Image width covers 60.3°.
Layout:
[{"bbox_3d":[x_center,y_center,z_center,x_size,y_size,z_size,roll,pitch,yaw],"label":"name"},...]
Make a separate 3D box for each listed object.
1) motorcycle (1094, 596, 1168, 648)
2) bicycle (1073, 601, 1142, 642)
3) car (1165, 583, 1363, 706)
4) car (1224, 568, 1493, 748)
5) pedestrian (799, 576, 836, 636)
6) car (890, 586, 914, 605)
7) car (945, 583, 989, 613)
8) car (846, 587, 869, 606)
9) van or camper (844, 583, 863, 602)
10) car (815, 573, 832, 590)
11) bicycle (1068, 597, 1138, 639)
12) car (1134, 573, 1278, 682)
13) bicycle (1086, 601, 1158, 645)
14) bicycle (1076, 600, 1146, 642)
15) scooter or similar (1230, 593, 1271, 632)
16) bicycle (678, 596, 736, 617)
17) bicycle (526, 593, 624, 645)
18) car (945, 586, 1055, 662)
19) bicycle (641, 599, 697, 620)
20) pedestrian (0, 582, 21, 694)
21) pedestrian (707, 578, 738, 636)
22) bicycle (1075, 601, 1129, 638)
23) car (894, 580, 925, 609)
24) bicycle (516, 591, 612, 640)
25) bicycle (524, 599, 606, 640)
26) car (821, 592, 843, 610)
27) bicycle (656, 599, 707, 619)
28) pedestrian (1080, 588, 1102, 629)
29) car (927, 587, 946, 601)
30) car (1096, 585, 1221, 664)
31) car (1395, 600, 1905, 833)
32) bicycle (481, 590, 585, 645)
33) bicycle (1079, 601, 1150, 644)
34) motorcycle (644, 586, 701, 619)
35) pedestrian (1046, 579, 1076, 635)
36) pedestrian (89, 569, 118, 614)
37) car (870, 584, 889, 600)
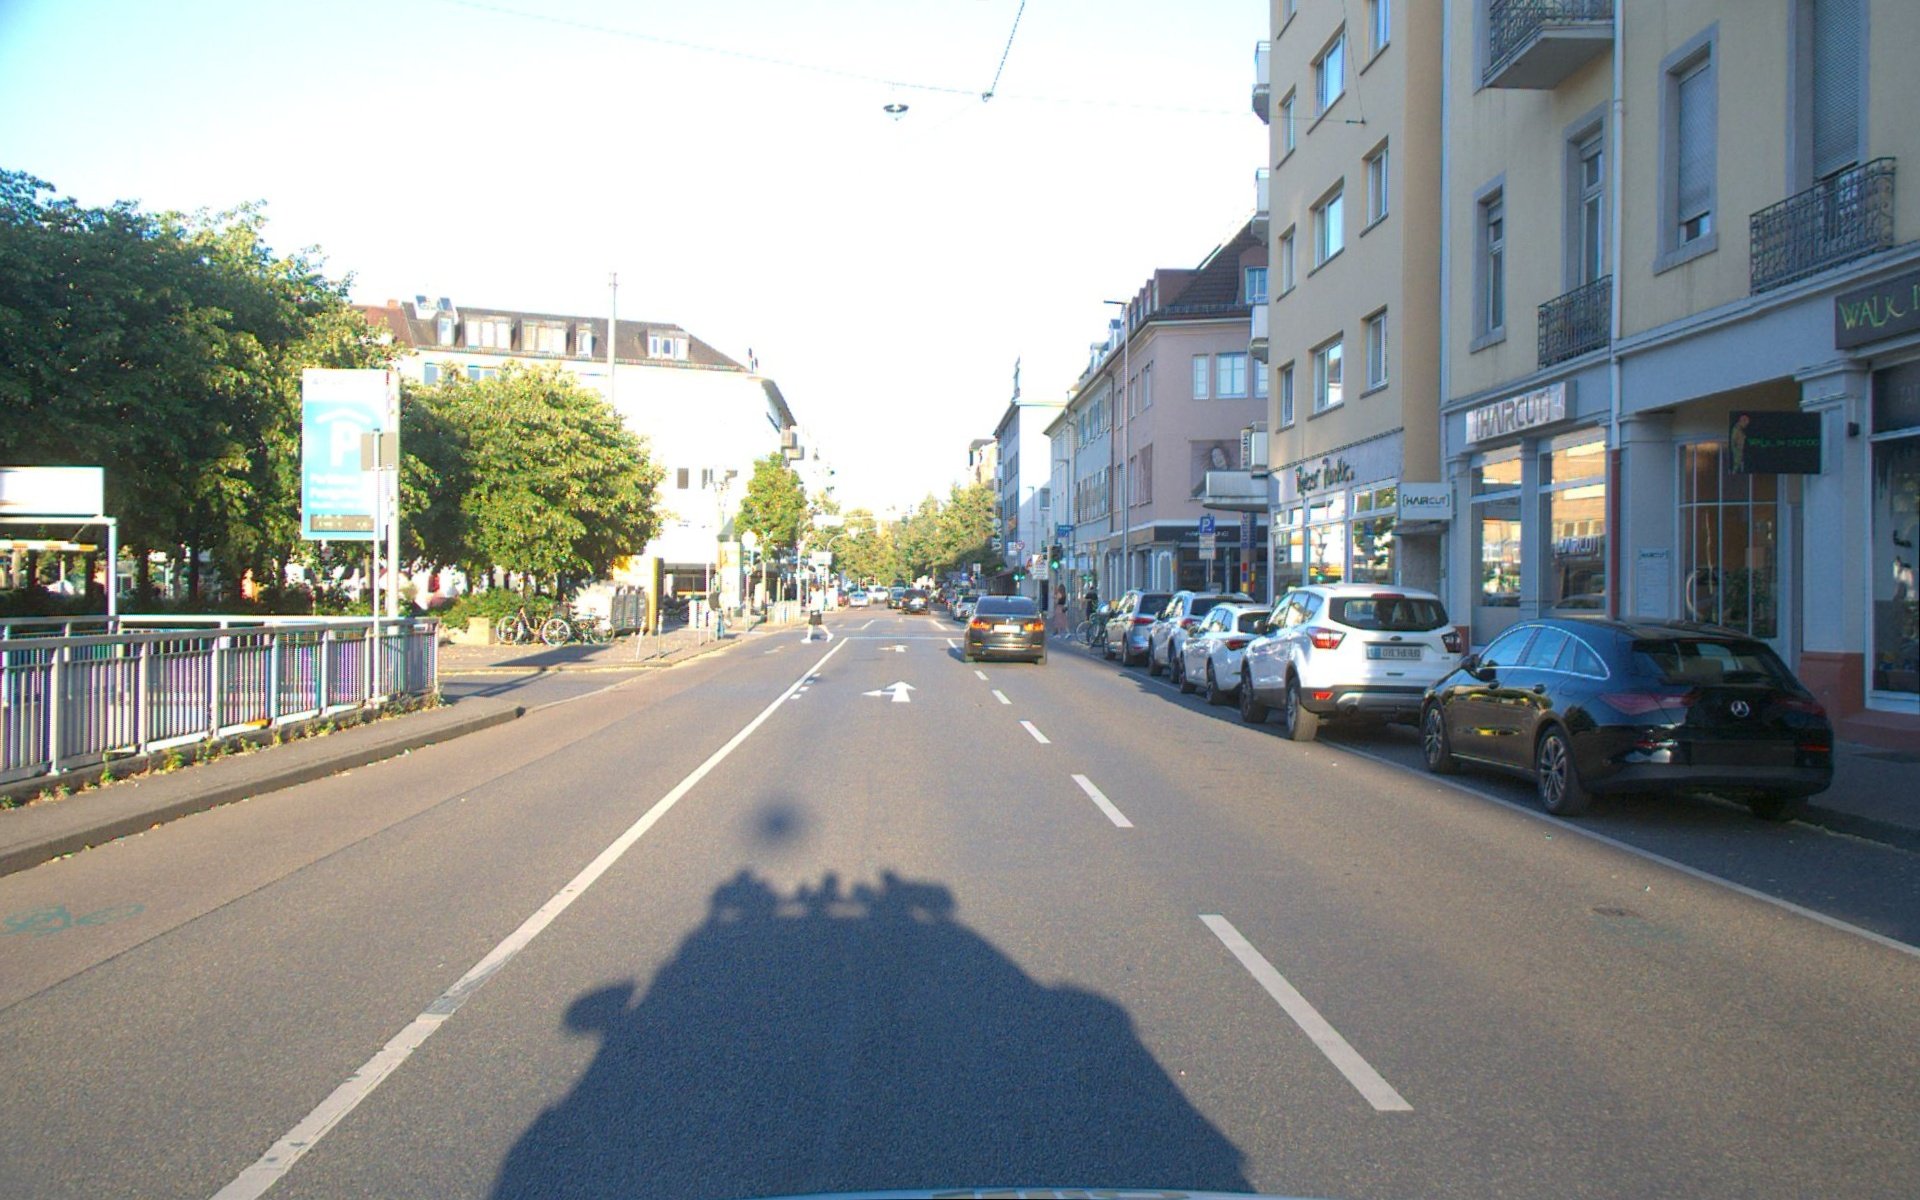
[{"bbox_3d":[4.357,0.545,42.198,1.777,1.285,0.715,-1,0,-5],"label":"motorcycle"},{"bbox_3d":[4.214,0.603,47.363,1.847,1.132,0.761,1,0,-6],"label":"bicycle"},{"bbox_3d":[4.454,0.586,25.029,1.975,1.570,4.869,0,2,-1],"label":"car"},{"bbox_3d":[4.452,0.550,19.251,1.844,1.775,4.658,0,2,-2],"label":"car"},{"bbox_3d":[-4.238,0.170,49.144,0.858,1.750,0.753,1,0,-27],"label":"pedestrian"},{"bbox_3d":[-4.711,-0.394,135.044,1.846,1.512,4.000,1,1,-1],"label":"car"},{"bbox_3d":[0.380,-0.122,92.801,2.287,1.632,3.893,1,0,-2],"label":"car"},{"bbox_3d":[-9.238,-0.317,149.635,1.855,1.624,4.000,1,0,-1],"label":"car"},{"bbox_3d":[-14.178,-1.067,219.879,2.425,2.447,3.995,1,0,-6],"label":"van or camper"},{"bbox_3d":[-17.215,-2.318,208.886,1.790,2.049,3.675,1,0,-1],"label":"car"},{"bbox_3d":[4.020,0.500,46.546,1.847,1.188,0.722,0,0,-6],"label":"bicycle"},{"bbox_3d":[4.479,0.442,30.751,1.830,1.792,4.407,0,2,-2],"label":"car"},{"bbox_3d":[4.333,0.622,44.231,1.847,1.132,0.592,1,-1,-5],"label":"bicycle"},{"bbox_3d":[4.157,0.573,45.598,1.847,1.132,0.601,1,0,-5],"label":"bicycle"},{"bbox_3d":[9.864,0.430,56.228,1.289,1.286,0.524,1,0,20],"label":"scooter or similar"},{"bbox_3d":[-13.285,0.336,86.926,2.881,1.040,0.843,0,0,0],"label":"bicycle"},{"bbox_3d":[-9.980,0.480,42.886,2.383,1.259,0.517,2,0,-4],"label":"bicycle"},{"bbox_3d":[0.807,0.478,36.001,1.852,1.518,4.199,1,0,-6],"label":"car"},{"bbox_3d":[-13.422,0.447,76.323,2.474,0.935,0.700,0,0,-5],"label":"bicycle"},{"bbox_3d":[-17.441,0.670,29.612,0.785,1.982,0.731,1,0,11],"label":"pedestrian"},{"bbox_3d":[-7.278,0.203,50.740,0.866,1.750,0.713,1,0,-14],"label":"pedestrian"},{"bbox_3d":[4.108,0.570,47.962,1.471,1.044,0.512,-1,0,-7],"label":"bicycle"},{"bbox_3d":[-3.217,-0.358,105.450,1.953,1.780,3.999,1,0,-2],"label":"car"},{"bbox_3d":[-10.421,0.408,43.551,2.383,1.259,0.462,1,0,-4],"label":"bicycle"},{"bbox_3d":[-10.533,0.519,44.133,2.003,0.988,0.635,3,0,-4],"label":"bicycle"},{"bbox_3d":[-12.545,0.098,162.028,1.855,1.624,4.000,1,0,-1],"label":"car"},{"bbox_3d":[-13.047,0.426,77.602,2.281,0.935,0.700,0,0,-5],"label":"bicycle"},{"bbox_3d":[5.857,0.393,74.036,0.743,1.808,1.047,1,0,-7],"label":"pedestrian"},{"bbox_3d":[-2.753,-0.698,194.254,1.857,1.624,3.996,1,0,-5],"label":"car"},{"bbox_3d":[4.330,0.500,36.845,1.954,1.641,4.800,0,0,-3],"label":"car"},{"bbox_3d":[5.185,0.772,13.313,1.953,1.459,4.848,1,1,-2],"label":"car"},{"bbox_3d":[-10.680,0.431,41.346,2.451,1.306,0.816,1,0,19],"label":"bicycle"},{"bbox_3d":[4.196,0.611,45.060,1.847,1.132,0.520,1,0,-5],"label":"bicycle"},{"bbox_3d":[-12.944,0.120,74.529,2.365,1.451,1.112,0,0,-3],"label":"motorcycle"},{"bbox_3d":[3.214,0.210,52.607,0.780,1.750,0.810,1,0,-9],"label":"pedestrian"},{"bbox_3d":[-34.497,-0.340,66.621,0.878,1.809,0.707,0,0,36],"label":"pedestrian"},{"bbox_3d":[-9.059,-0.923,187.304,1.953,1.780,4.000,1,0,-1],"label":"car"}]
